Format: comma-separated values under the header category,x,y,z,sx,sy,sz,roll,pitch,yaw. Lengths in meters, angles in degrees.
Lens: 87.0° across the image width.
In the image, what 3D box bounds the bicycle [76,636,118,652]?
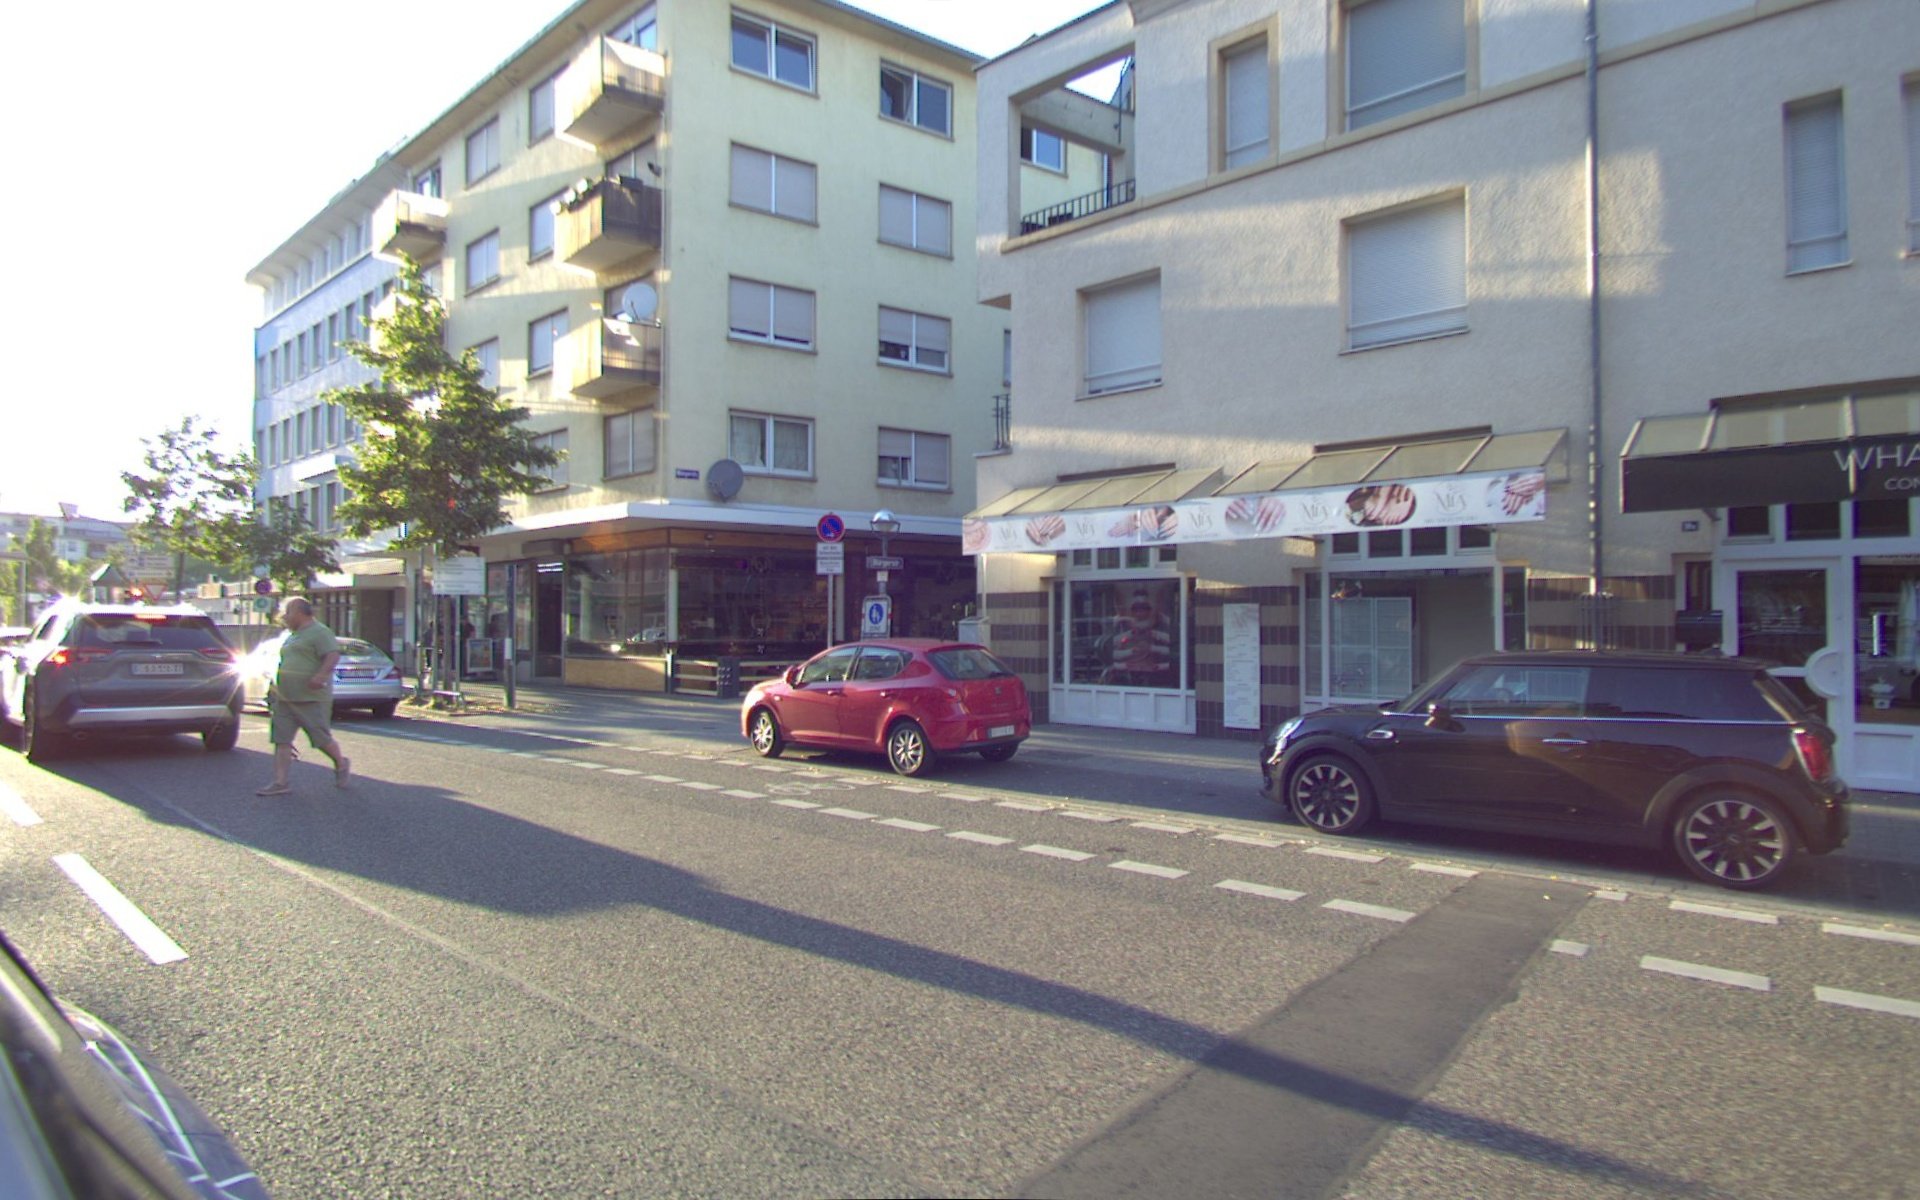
category,x,y,z,sx,sy,sz,roll,pitch,yaw
bicycle,-61.302,3.128,71.884,0.779,1.096,2.152,-1,-2,41

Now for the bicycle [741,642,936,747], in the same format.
category,x,y,z,sx,sy,sz,roll,pitch,yaw
bicycle,-1.844,1.311,14.799,3.124,1.310,0.949,-1,0,40

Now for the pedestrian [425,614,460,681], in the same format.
category,x,y,z,sx,sy,sz,roll,pitch,yaw
pedestrian,-14.655,1.347,28.672,0.758,1.862,0.744,1,-3,-39

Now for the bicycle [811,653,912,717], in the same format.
category,x,y,z,sx,sy,sz,roll,pitch,yaw
bicycle,-1.753,1.468,17.719,2.014,0.999,0.485,-1,0,40

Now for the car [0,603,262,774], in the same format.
category,x,y,z,sx,sy,sz,roll,pitch,yaw
car,-10.196,0.908,12.150,4.738,1.657,1.920,-1,-2,42

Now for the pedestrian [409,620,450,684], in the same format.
category,x,y,z,sx,sy,sz,roll,pitch,yaw
pedestrian,-14.282,1.397,27.265,0.758,1.689,0.744,0,-1,-6

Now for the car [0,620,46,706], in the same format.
category,x,y,z,sx,sy,sz,roll,pitch,yaw
car,-20.651,1.242,21.046,4.614,1.657,1.925,-1,-2,42

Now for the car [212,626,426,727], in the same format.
category,x,y,z,sx,sy,sz,roll,pitch,yaw
car,-11.470,1.290,17.988,4.508,1.523,1.972,-1,-4,42

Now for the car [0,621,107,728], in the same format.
category,x,y,z,sx,sy,sz,roll,pitch,yaw
car,-15.570,1.139,16.659,4.464,1.561,1.705,-1,-2,42

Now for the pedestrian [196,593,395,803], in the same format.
category,x,y,z,sx,sy,sz,roll,pitch,yaw
pedestrian,-5.718,0.828,8.773,0.983,1.689,0.903,1,-5,12

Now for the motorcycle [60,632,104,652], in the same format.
category,x,y,z,sx,sy,sz,roll,pitch,yaw
motorcycle,-63.982,3.063,73.744,2.416,1.376,0.780,0,-2,-44

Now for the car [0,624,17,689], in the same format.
category,x,y,z,sx,sy,sz,roll,pitch,yaw
car,-25.285,1.426,25.271,4.505,1.559,1.938,-3,-3,39

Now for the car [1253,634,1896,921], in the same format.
category,x,y,z,sx,sy,sz,roll,pitch,yaw
car,4.270,1.029,7.409,3.724,1.464,1.693,-1,0,42

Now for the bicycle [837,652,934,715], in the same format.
category,x,y,z,sx,sy,sz,roll,pitch,yaw
bicycle,-1.351,1.462,18.091,2.016,0.999,0.484,-1,0,43

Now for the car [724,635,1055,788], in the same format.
category,x,y,z,sx,sy,sz,roll,pitch,yaw
car,-0.939,1.168,11.957,3.882,1.413,1.643,-1,0,41

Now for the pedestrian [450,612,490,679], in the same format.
category,x,y,z,sx,sy,sz,roll,pitch,yaw
pedestrian,-13.667,1.263,28.229,0.813,1.833,0.732,-3,-3,43
